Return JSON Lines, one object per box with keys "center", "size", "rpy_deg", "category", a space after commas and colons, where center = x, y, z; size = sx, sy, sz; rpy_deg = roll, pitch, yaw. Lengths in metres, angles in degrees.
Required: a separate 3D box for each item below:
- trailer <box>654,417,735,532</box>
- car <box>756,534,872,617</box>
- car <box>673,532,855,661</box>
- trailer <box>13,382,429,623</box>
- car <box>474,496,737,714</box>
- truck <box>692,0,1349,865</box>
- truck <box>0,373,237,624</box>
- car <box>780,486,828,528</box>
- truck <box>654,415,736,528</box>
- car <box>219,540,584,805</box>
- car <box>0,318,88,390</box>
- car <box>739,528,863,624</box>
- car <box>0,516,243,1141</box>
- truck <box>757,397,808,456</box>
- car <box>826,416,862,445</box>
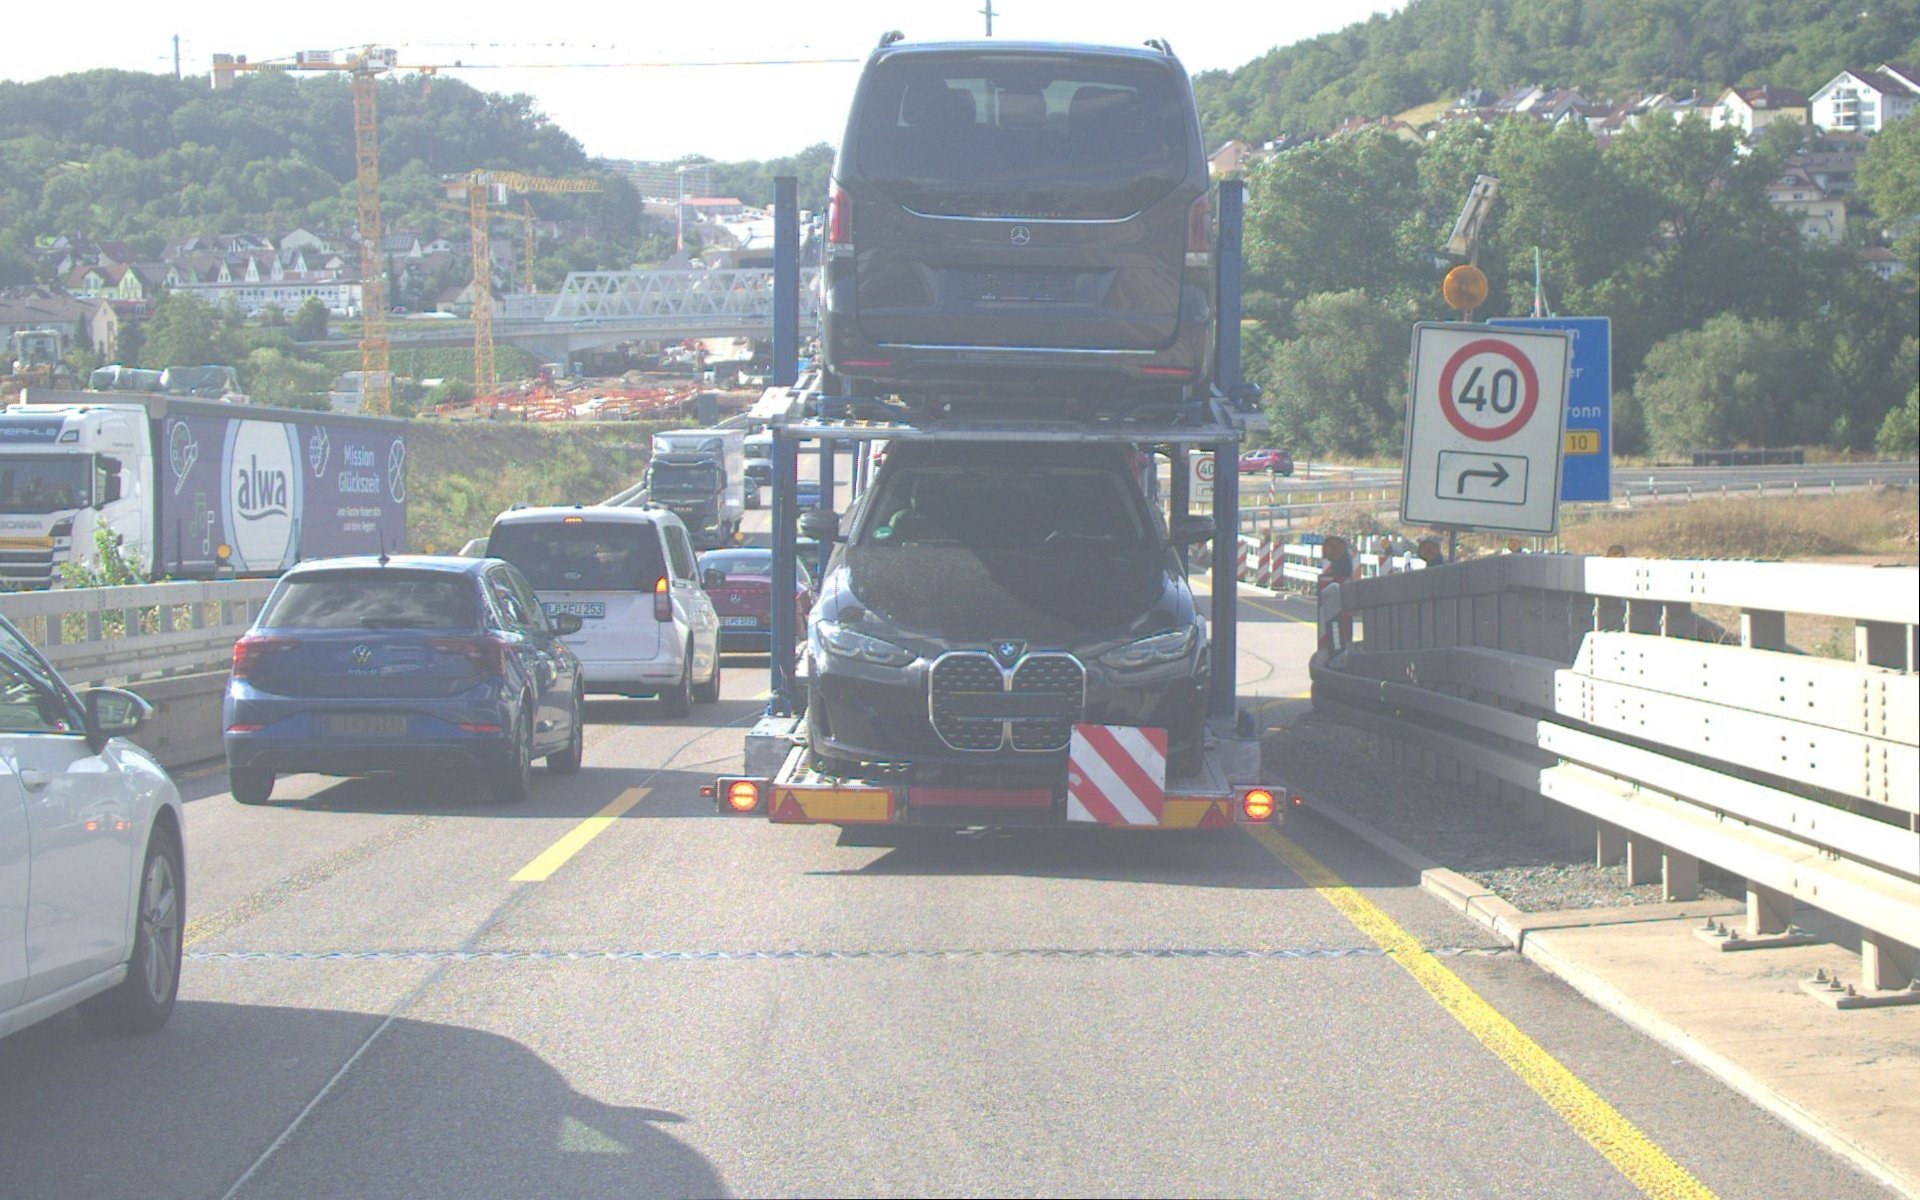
{"center": [-9.859, -4.528, 127.247], "size": [2.820, 3.828, 13.806], "rpy_deg": [1, 0, -5], "category": "trailer"}
{"center": [-2.809, -0.468, 66.937], "size": [1.993, 1.547, 4.000], "rpy_deg": [1, 0, 1], "category": "car"}
{"center": [-2.462, -0.052, 44.128], "size": [1.993, 1.551, 4.401], "rpy_deg": [1, 0, 1], "category": "car"}
{"center": [-13.816, -1.728, 66.120], "size": [2.689, 4.141, 13.806], "rpy_deg": [1, 0, 10], "category": "trailer"}
{"center": [-3.065, 0.027, 30.475], "size": [1.823, 1.786, 4.000], "rpy_deg": [1, 0, 1], "category": "car"}
{"center": [0.145, -0.921, 24.359], "size": [2.753, 3.941, 18.890], "rpy_deg": [2, 0, -1], "category": "truck"}
{"center": [-15.024, -1.696, 59.637], "size": [2.713, 4.123, 5.967], "rpy_deg": [1, 0, 11], "category": "truck"}
{"center": [-6.713, -3.994, 148.527], "size": [1.993, 1.720, 4.123], "rpy_deg": [1, 0, -2], "category": "car"}
{"center": [-9.360, -4.468, 120.971], "size": [2.776, 3.775, 6.019], "rpy_deg": [1, 0, -5], "category": "truck"}
{"center": [-3.310, 0.393, 21.050], "size": [1.722, 1.417, 4.000], "rpy_deg": [2, 0, -3], "category": "car"}
{"center": [-33.505, -8.933, 125.211], "size": [1.993, 2.133, 5.322], "rpy_deg": [-5, 0, -1], "category": "car"}
{"center": [-2.652, -0.403, 58.094], "size": [1.993, 1.547, 4.000], "rpy_deg": [1, 0, -1], "category": "car"}
{"center": [-3.177, 0.554, 8.616], "size": [1.770, 1.486, 4.517], "rpy_deg": [-1, 1, 0], "category": "car"}
{"center": [-10.898, -10.624, 211.464], "size": [2.700, 3.300, 7.537], "rpy_deg": [1, 0, 0], "category": "truck"}
{"center": [-7.213, -10.567, 213.703], "size": [2.125, 1.668, 4.273], "rpy_deg": [-1, 4, -1], "category": "car"}
